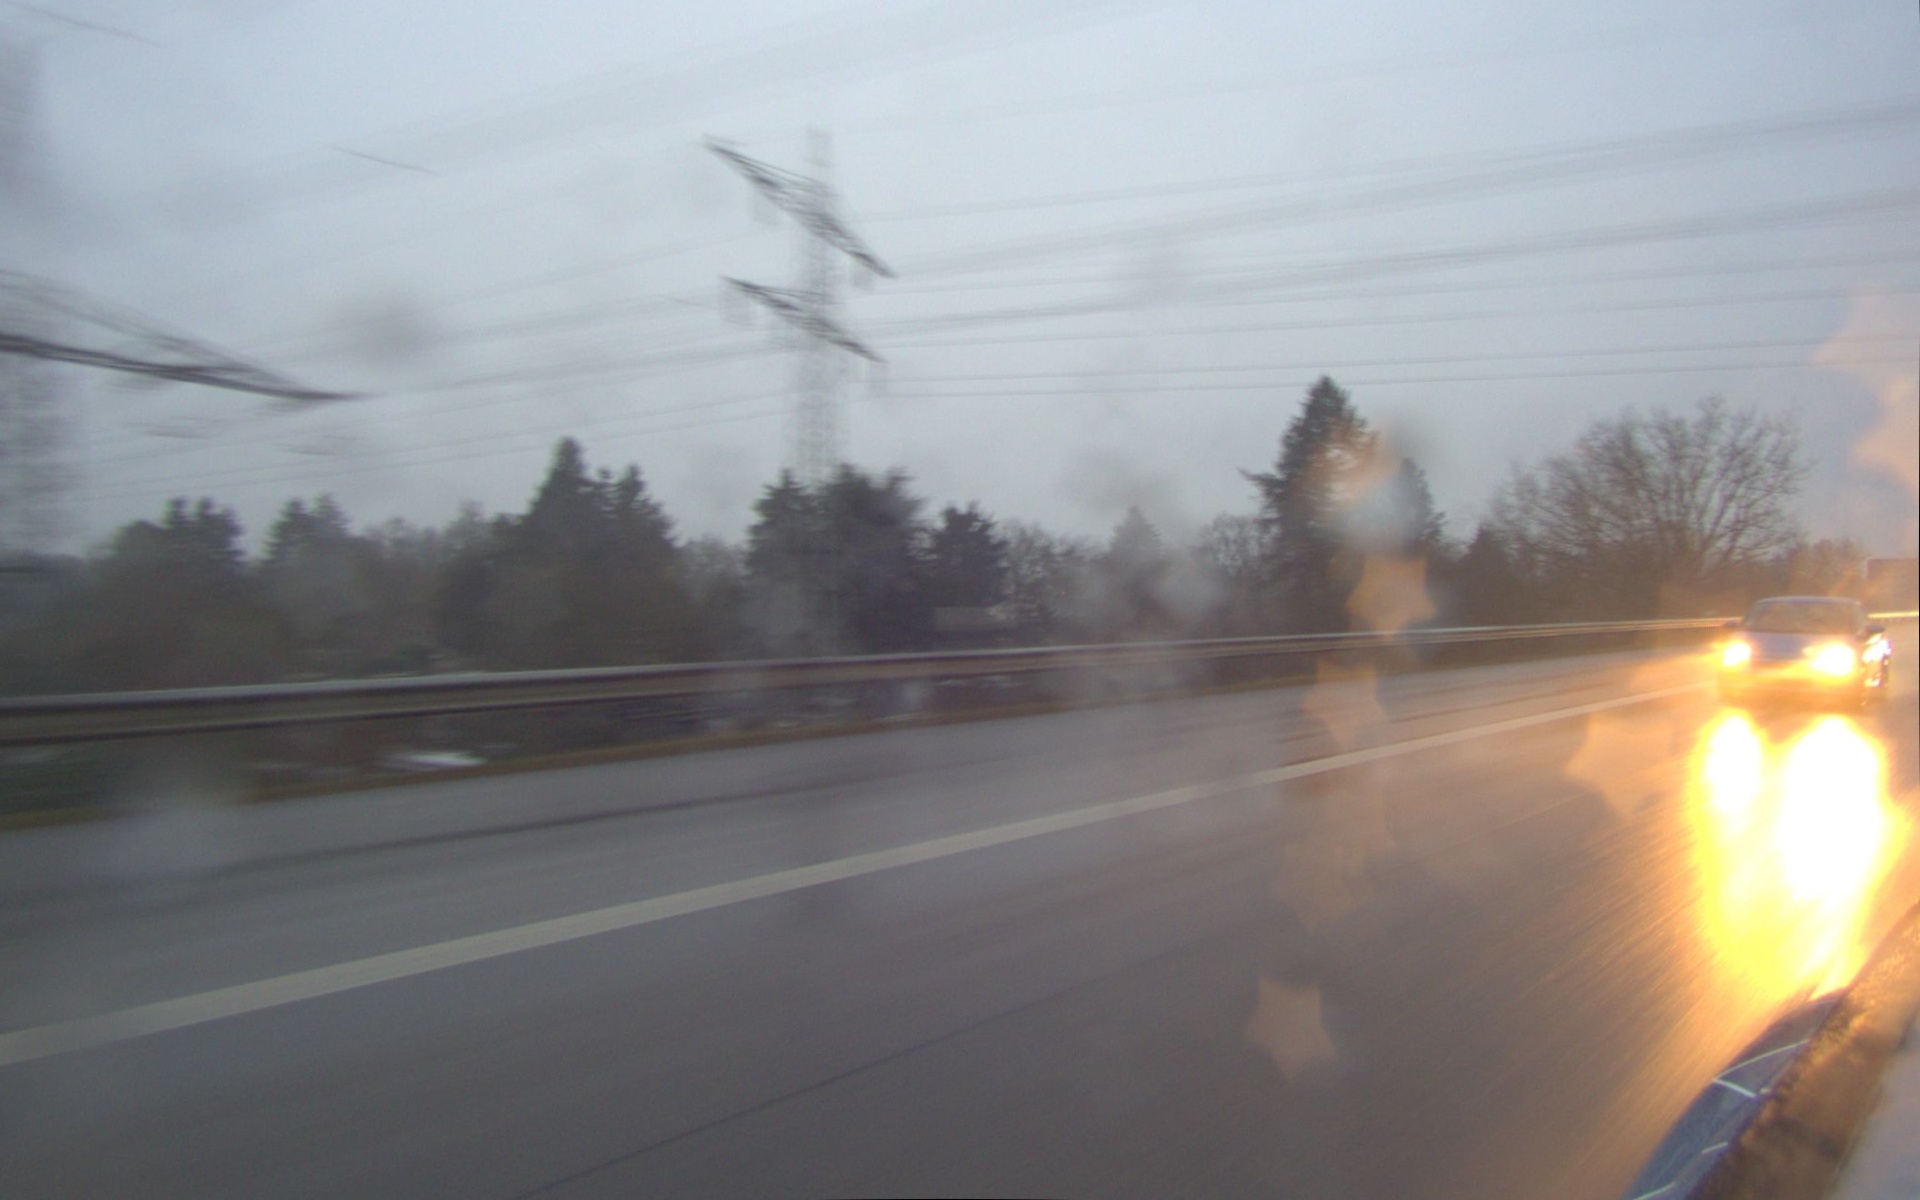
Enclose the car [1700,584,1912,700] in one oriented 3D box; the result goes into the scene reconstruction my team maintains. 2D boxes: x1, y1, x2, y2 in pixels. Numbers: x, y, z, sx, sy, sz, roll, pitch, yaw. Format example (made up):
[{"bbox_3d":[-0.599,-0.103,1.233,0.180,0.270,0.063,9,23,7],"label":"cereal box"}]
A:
[{"bbox_3d":[12.832,0.527,15.269,4.077,1.471,1.848,-2,1,-41],"label":"car"}]
